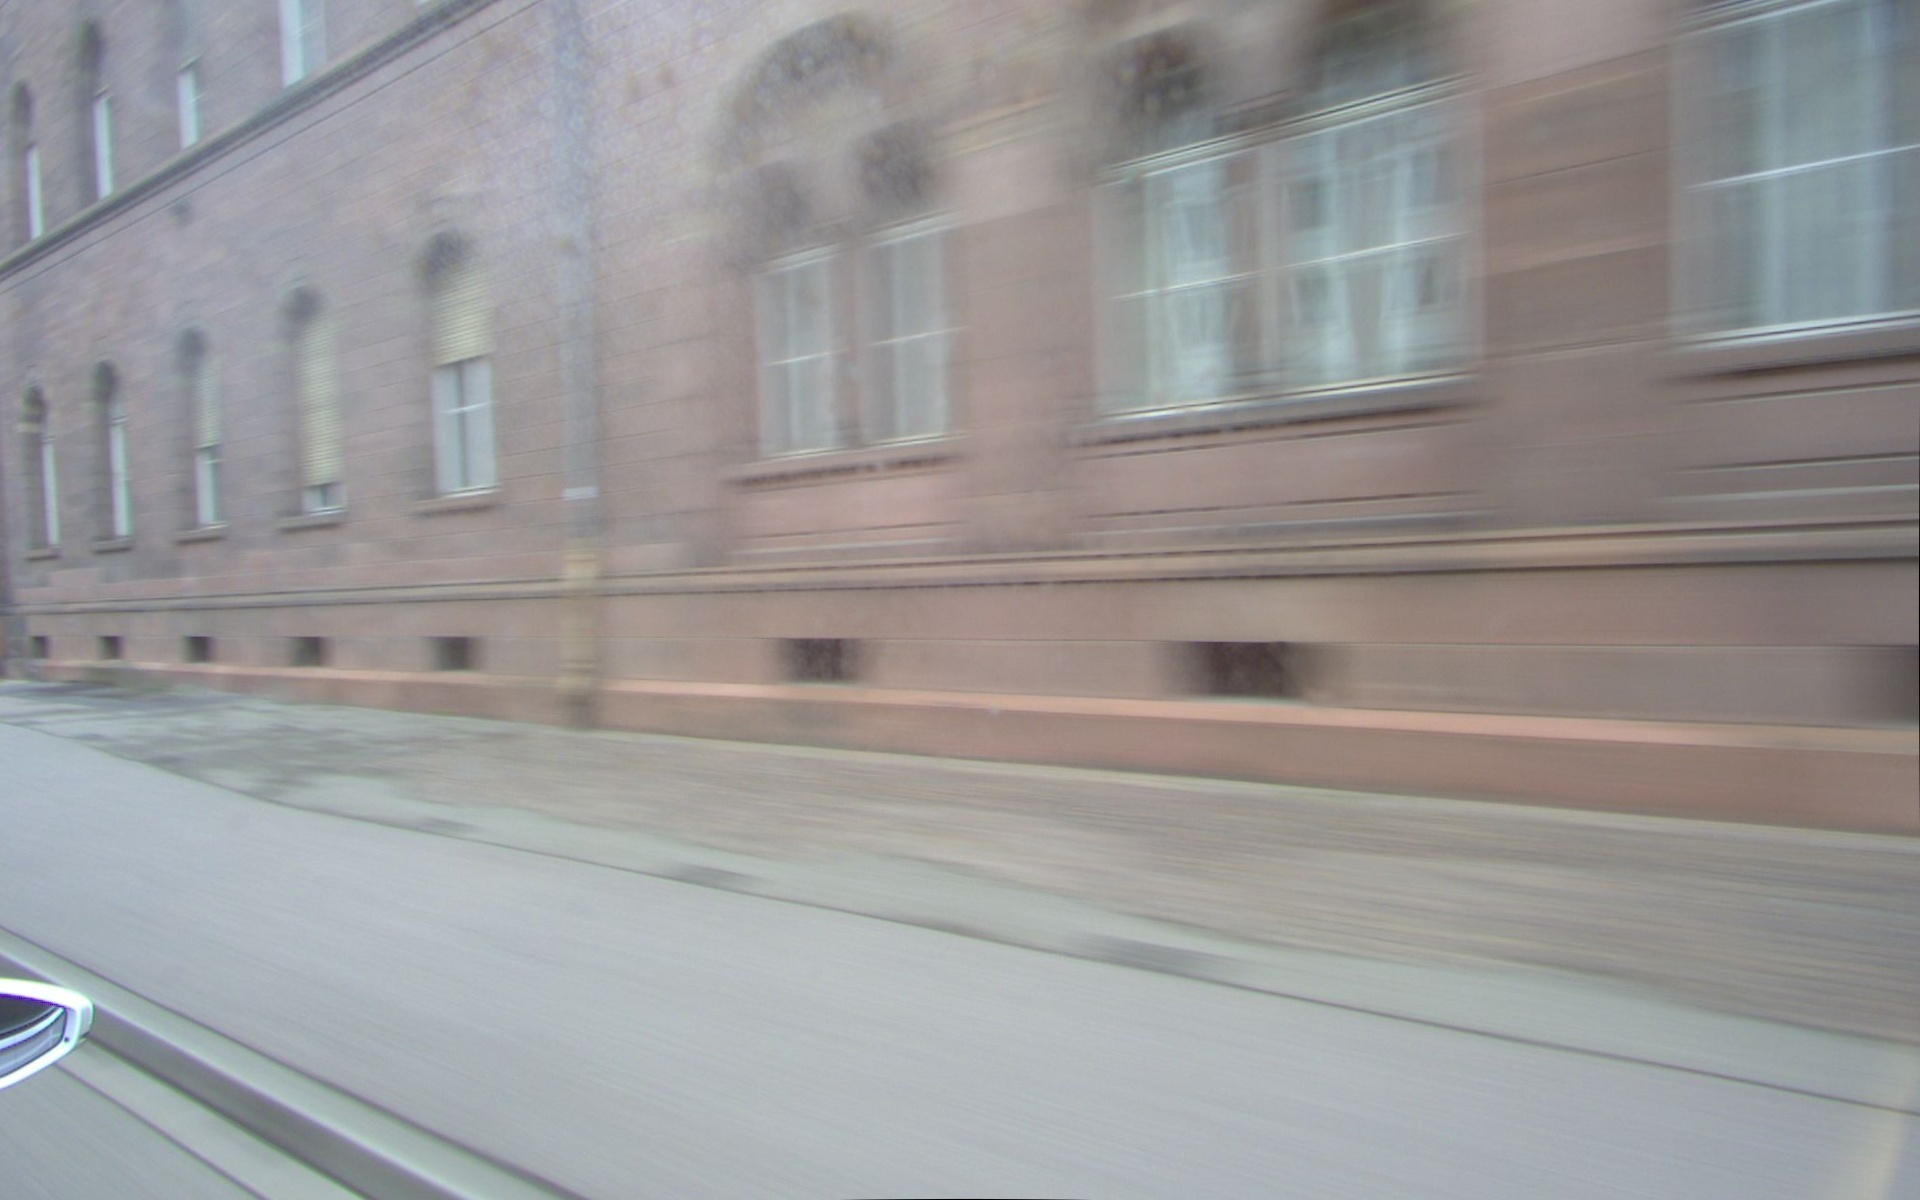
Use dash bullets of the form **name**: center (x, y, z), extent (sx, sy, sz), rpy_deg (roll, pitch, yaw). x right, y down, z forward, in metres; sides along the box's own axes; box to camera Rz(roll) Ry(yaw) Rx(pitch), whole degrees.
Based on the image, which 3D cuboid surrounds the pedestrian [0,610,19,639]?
- **pedestrian**: center (-45.430, 1.170, 47.633), extent (1.389, 1.384, 0.627), rpy_deg (-1, 1, 31)
